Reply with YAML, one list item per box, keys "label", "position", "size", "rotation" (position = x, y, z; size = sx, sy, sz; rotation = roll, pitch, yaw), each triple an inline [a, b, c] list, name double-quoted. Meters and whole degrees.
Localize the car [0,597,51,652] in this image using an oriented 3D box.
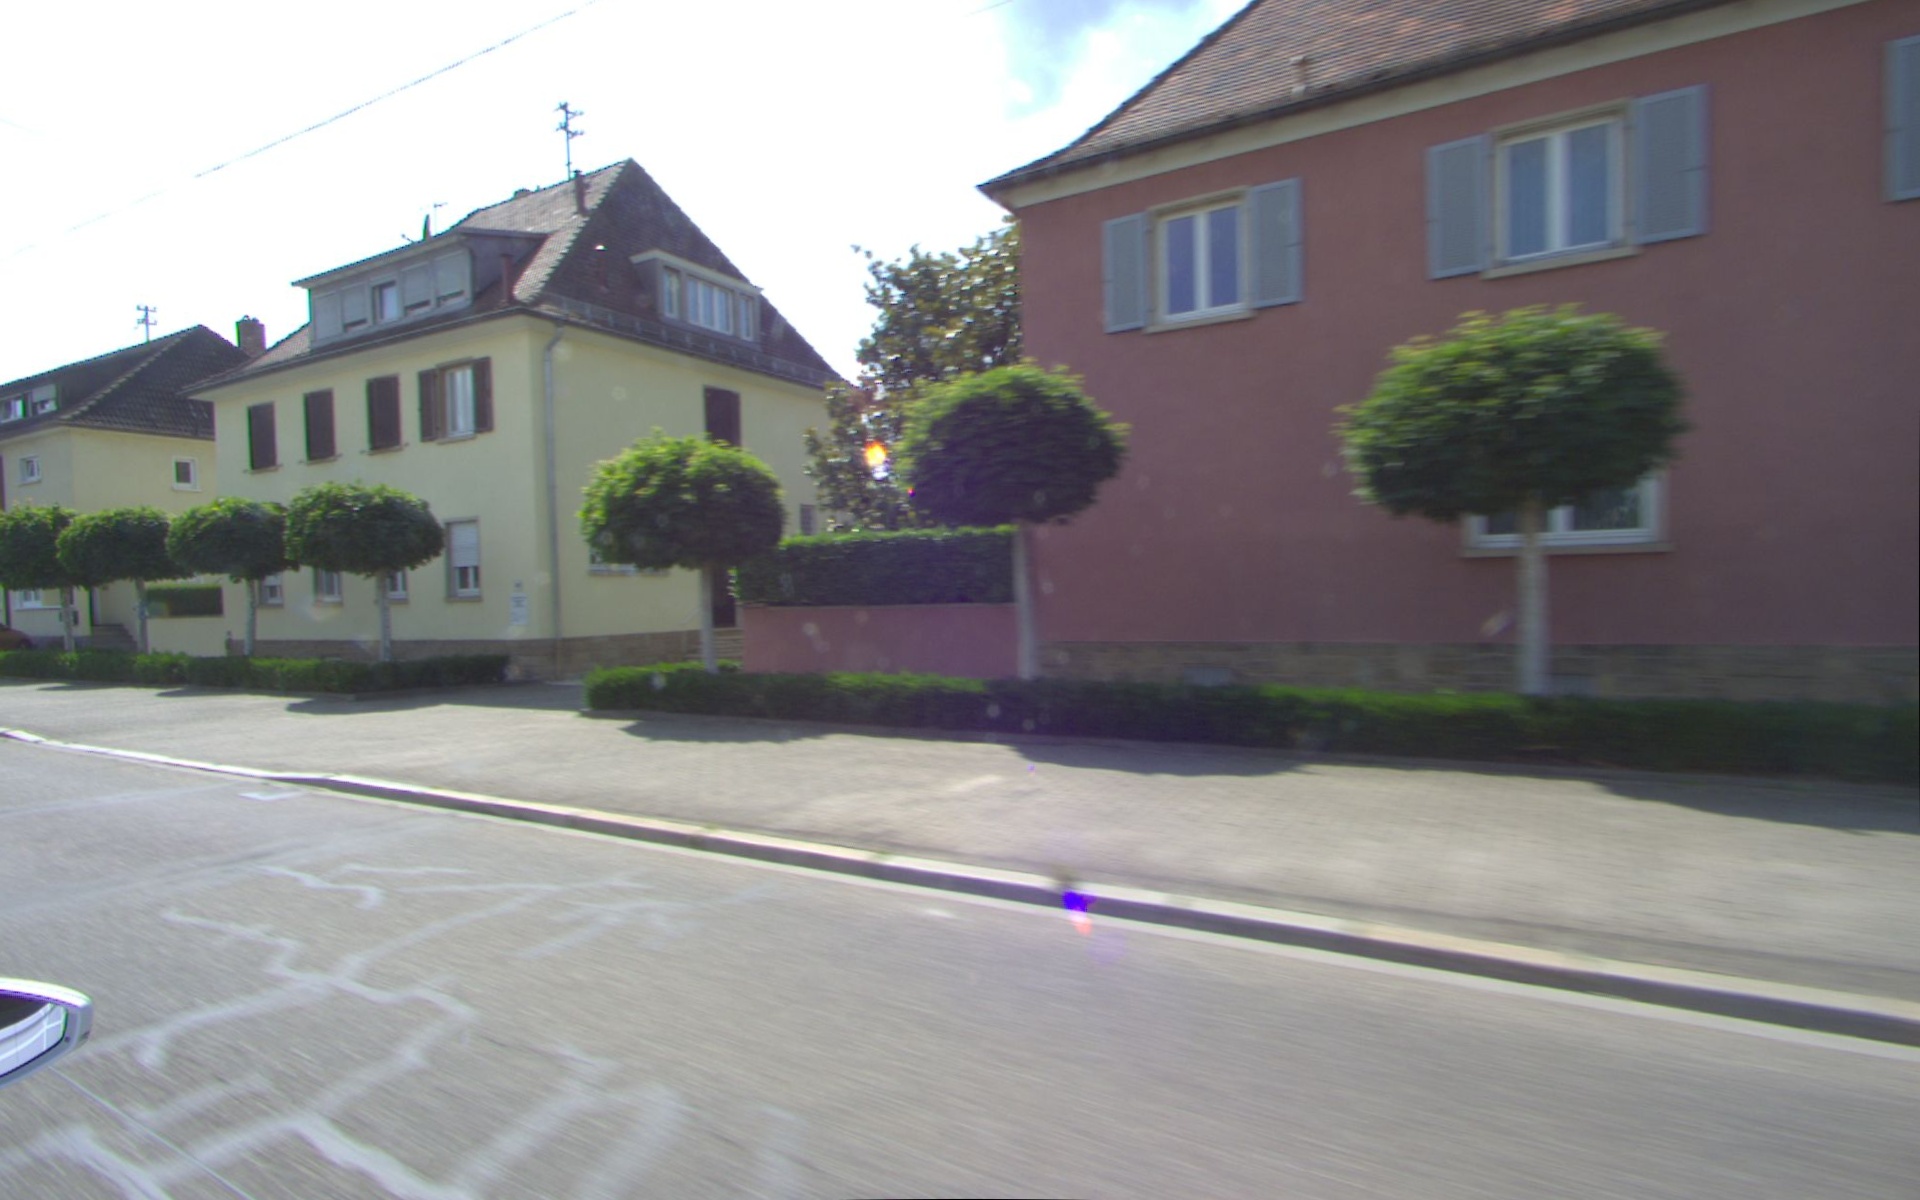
- label: "car"
  position: [-27.992, 0.722, 28.069]
  size: [1.880, 1.478, 4.086]
  rotation: [0, 2, -12]
